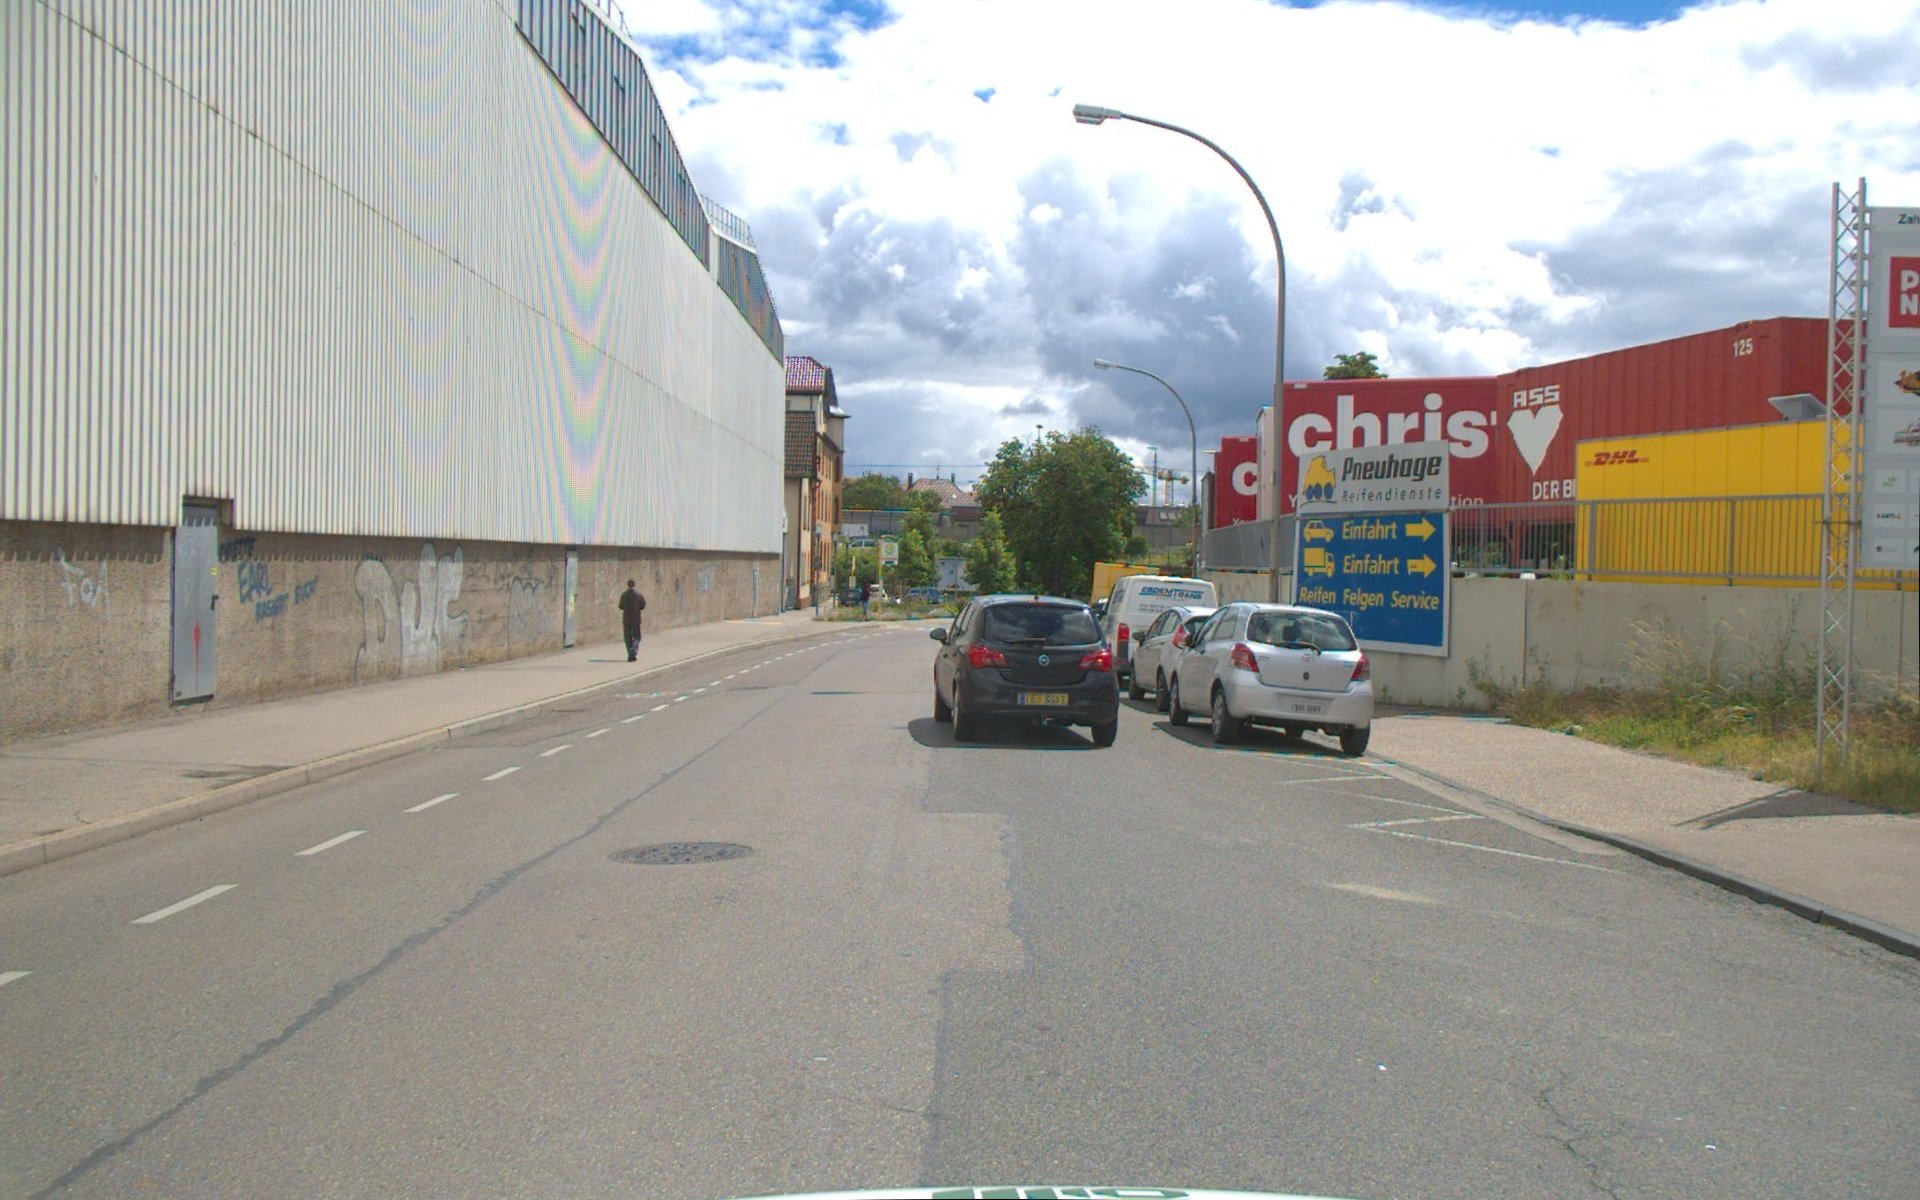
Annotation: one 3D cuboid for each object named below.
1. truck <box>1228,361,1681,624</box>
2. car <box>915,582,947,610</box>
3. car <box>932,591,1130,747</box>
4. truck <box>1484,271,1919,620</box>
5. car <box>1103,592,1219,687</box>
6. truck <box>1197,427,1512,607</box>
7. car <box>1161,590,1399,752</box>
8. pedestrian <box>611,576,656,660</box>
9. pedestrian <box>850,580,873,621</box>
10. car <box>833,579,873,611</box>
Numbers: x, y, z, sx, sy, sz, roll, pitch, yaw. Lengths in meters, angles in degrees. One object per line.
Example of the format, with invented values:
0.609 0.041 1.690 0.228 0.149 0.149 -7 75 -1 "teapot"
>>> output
9.706 -1.987 32.847 8.275 4.753 2.582 0 -2 20 "truck"
-1.697 -0.239 97.219 1.815 1.512 3.998 1 -2 -1 "car"
0.663 0.662 17.931 1.668 1.472 3.790 1 0 -5 "car"
11.435 -2.020 26.193 2.528 4.527 7.840 1 -2 -11 "truck"
3.547 0.664 29.727 1.666 1.554 3.738 1 0 1 "car"
10.857 -2.277 46.086 8.269 4.753 2.584 1 -2 10 "truck"
3.531 0.721 18.917 1.668 1.554 3.735 4 0 -4 "car"
-6.566 0.366 33.299 0.698 1.666 0.777 1 -2 1 "pedestrian"
-4.099 0.024 69.011 0.835 1.692 0.860 1 -2 4 "pedestrian"
-5.519 -0.232 85.710 1.815 1.512 3.998 1 -2 -1 "car"
